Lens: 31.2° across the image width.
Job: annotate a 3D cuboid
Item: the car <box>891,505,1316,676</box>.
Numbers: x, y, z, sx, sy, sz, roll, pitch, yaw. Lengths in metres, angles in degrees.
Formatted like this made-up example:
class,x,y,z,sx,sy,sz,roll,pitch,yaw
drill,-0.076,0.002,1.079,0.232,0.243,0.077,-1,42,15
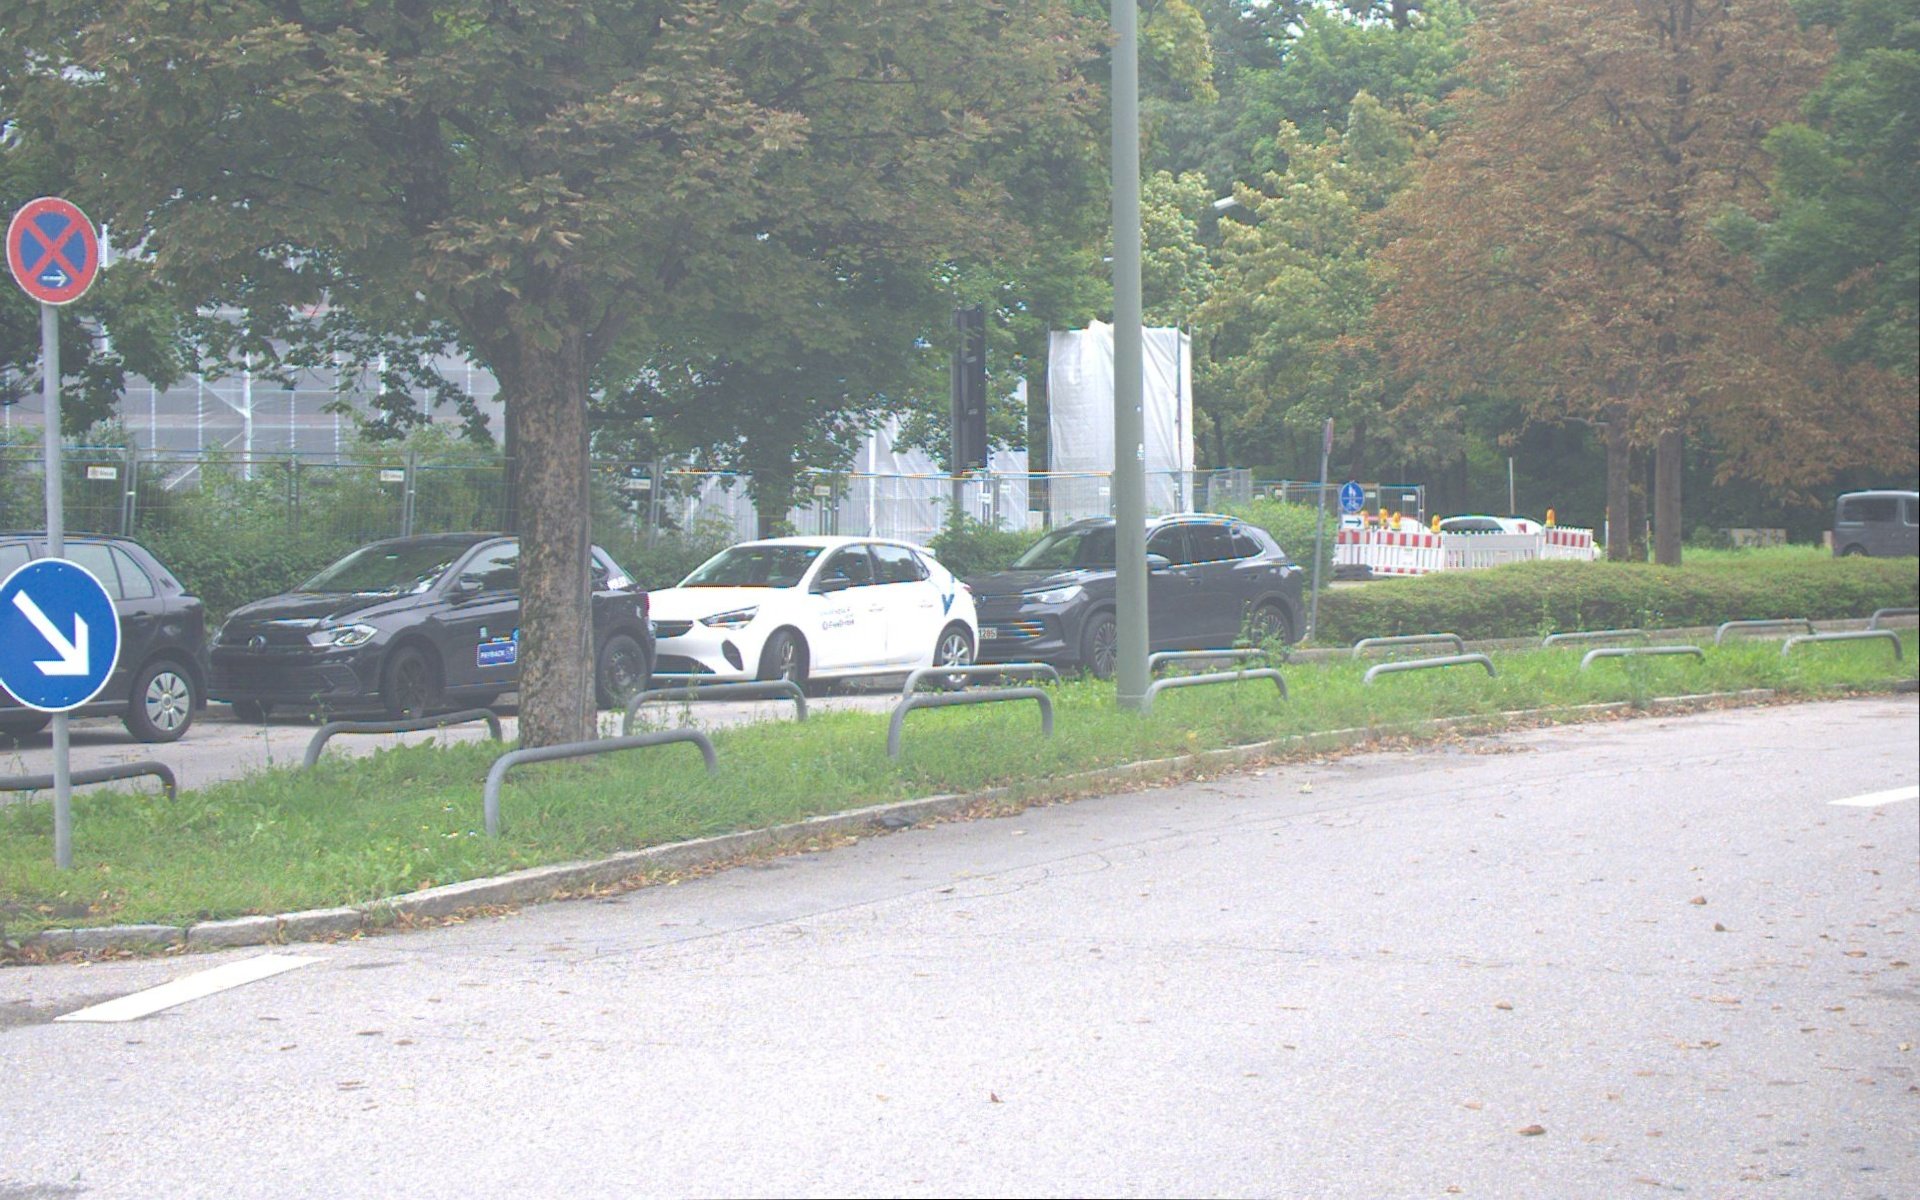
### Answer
class,x,y,z,sx,sy,sz,roll,pitch,yaw
car,1.502,-0.073,34.518,1.890,1.600,4.385,0,-1,42

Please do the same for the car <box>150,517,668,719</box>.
class,x,y,z,sx,sy,sz,roll,pitch,yaw
car,-4.229,0.098,26.968,1.837,1.456,3.999,0,1,32

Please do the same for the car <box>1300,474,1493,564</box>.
class,x,y,z,sx,sy,sz,roll,pitch,yaw
car,9.954,-1.846,78.620,1.994,2.007,4.156,-1,2,-39

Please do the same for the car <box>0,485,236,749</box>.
class,x,y,z,sx,sy,sz,roll,pitch,yaw
car,-6.943,0.109,22.761,1.997,1.700,3.993,0,1,32

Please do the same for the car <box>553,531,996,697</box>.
class,x,y,z,sx,sy,sz,roll,pitch,yaw
car,-1.588,0.084,30.953,1.799,1.379,4.210,0,1,34

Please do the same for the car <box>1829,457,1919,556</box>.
class,x,y,z,sx,sy,sz,roll,pitch,yaw
car,19.968,-1.904,70.017,1.994,2.007,3.999,-1,2,-39
